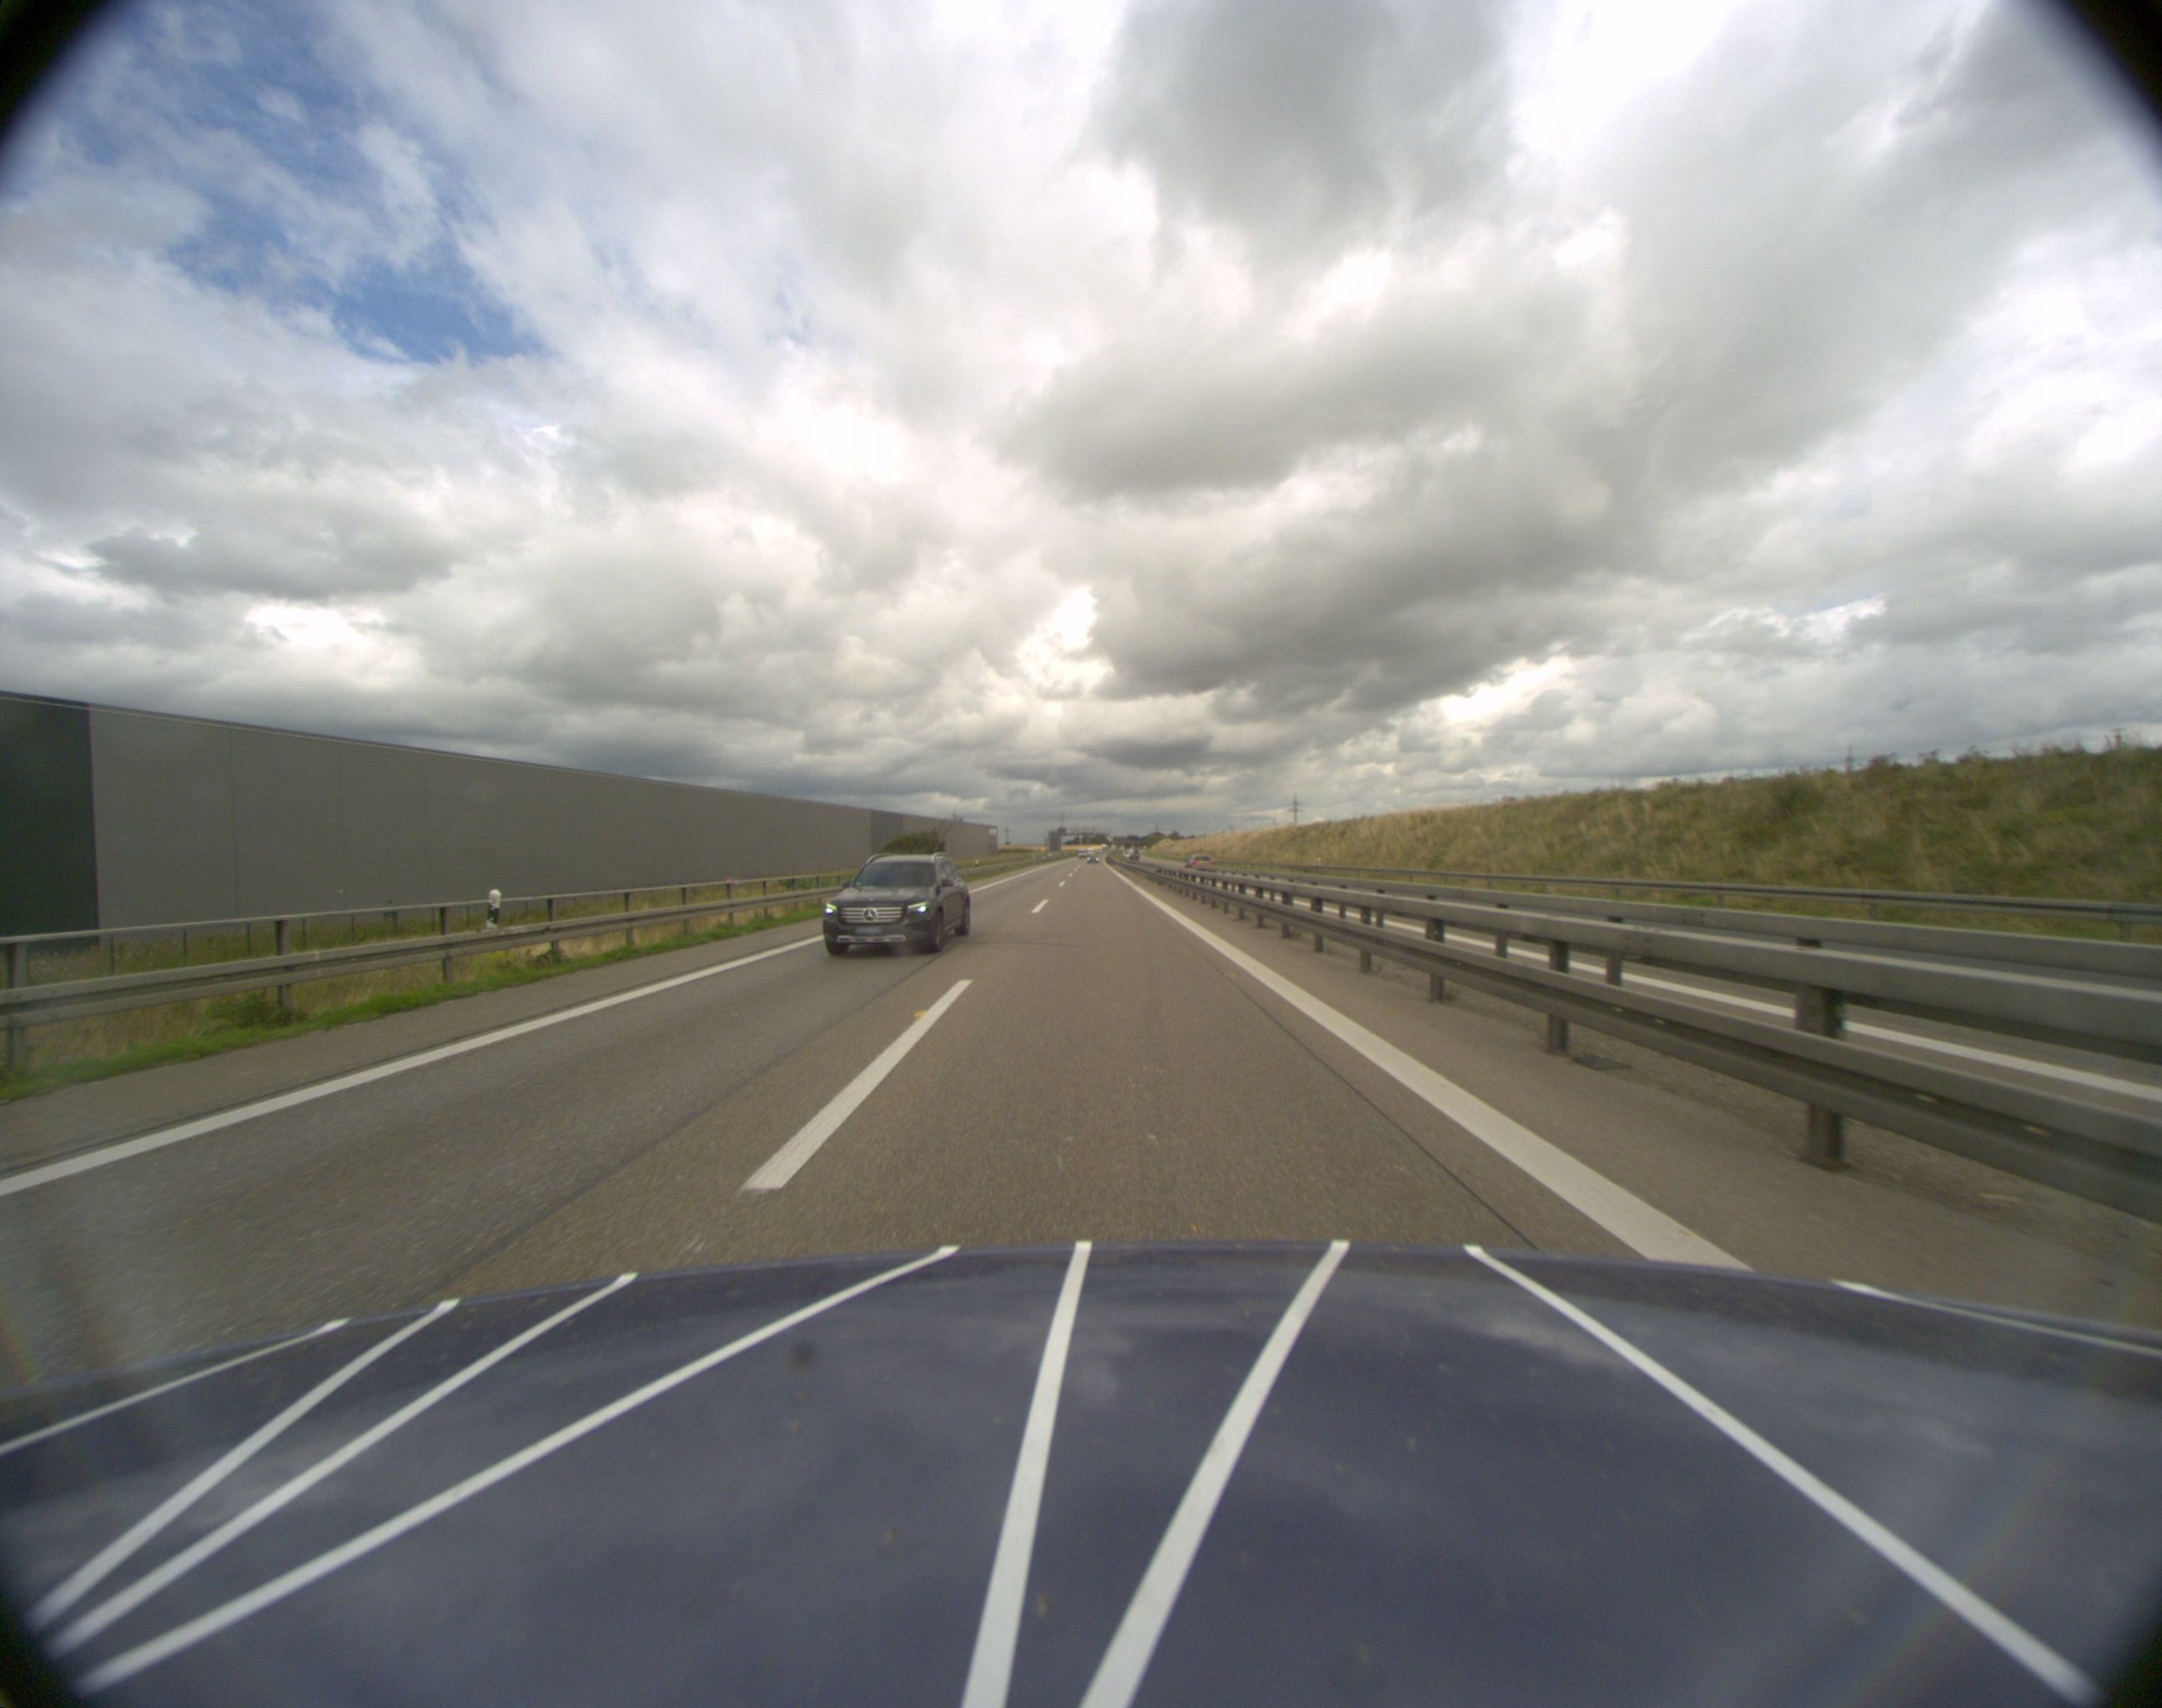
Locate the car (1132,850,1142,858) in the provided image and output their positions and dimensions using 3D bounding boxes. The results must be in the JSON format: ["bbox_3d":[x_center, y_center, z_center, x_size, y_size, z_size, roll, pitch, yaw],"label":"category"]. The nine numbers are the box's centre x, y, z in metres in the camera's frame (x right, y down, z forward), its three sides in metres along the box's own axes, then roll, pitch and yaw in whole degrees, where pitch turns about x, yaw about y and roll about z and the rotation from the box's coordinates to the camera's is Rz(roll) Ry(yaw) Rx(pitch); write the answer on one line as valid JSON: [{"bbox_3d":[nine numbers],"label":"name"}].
[{"bbox_3d":[11.522,0.035,155.256,1.846,1.567,3.999,0,1,1],"label":"car"}]

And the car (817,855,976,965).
[{"bbox_3d":[-3.166,0.875,13.992,1.838,1.600,4.359,0,1,0],"label":"car"}]

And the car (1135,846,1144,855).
[{"bbox_3d":[16.232,-0.959,210.910,1.998,2.229,5.718,0,1,2],"label":"car"}]

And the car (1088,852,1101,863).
[{"bbox_3d":[2.196,0.591,122.287,1.998,1.696,4.662,-2,0,1],"label":"car"}]

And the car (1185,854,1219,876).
[{"bbox_3d":[9.077,0.772,57.449,1.911,1.504,4.729,0,1,1],"label":"car"}]

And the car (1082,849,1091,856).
[{"bbox_3d":[1.458,-0.362,202.712,1.998,1.812,4.343,0,1,5],"label":"car"}]

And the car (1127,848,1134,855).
[{"bbox_3d":[13.074,-0.676,200.457,1.832,1.874,5.418,0,1,2],"label":"car"}]
